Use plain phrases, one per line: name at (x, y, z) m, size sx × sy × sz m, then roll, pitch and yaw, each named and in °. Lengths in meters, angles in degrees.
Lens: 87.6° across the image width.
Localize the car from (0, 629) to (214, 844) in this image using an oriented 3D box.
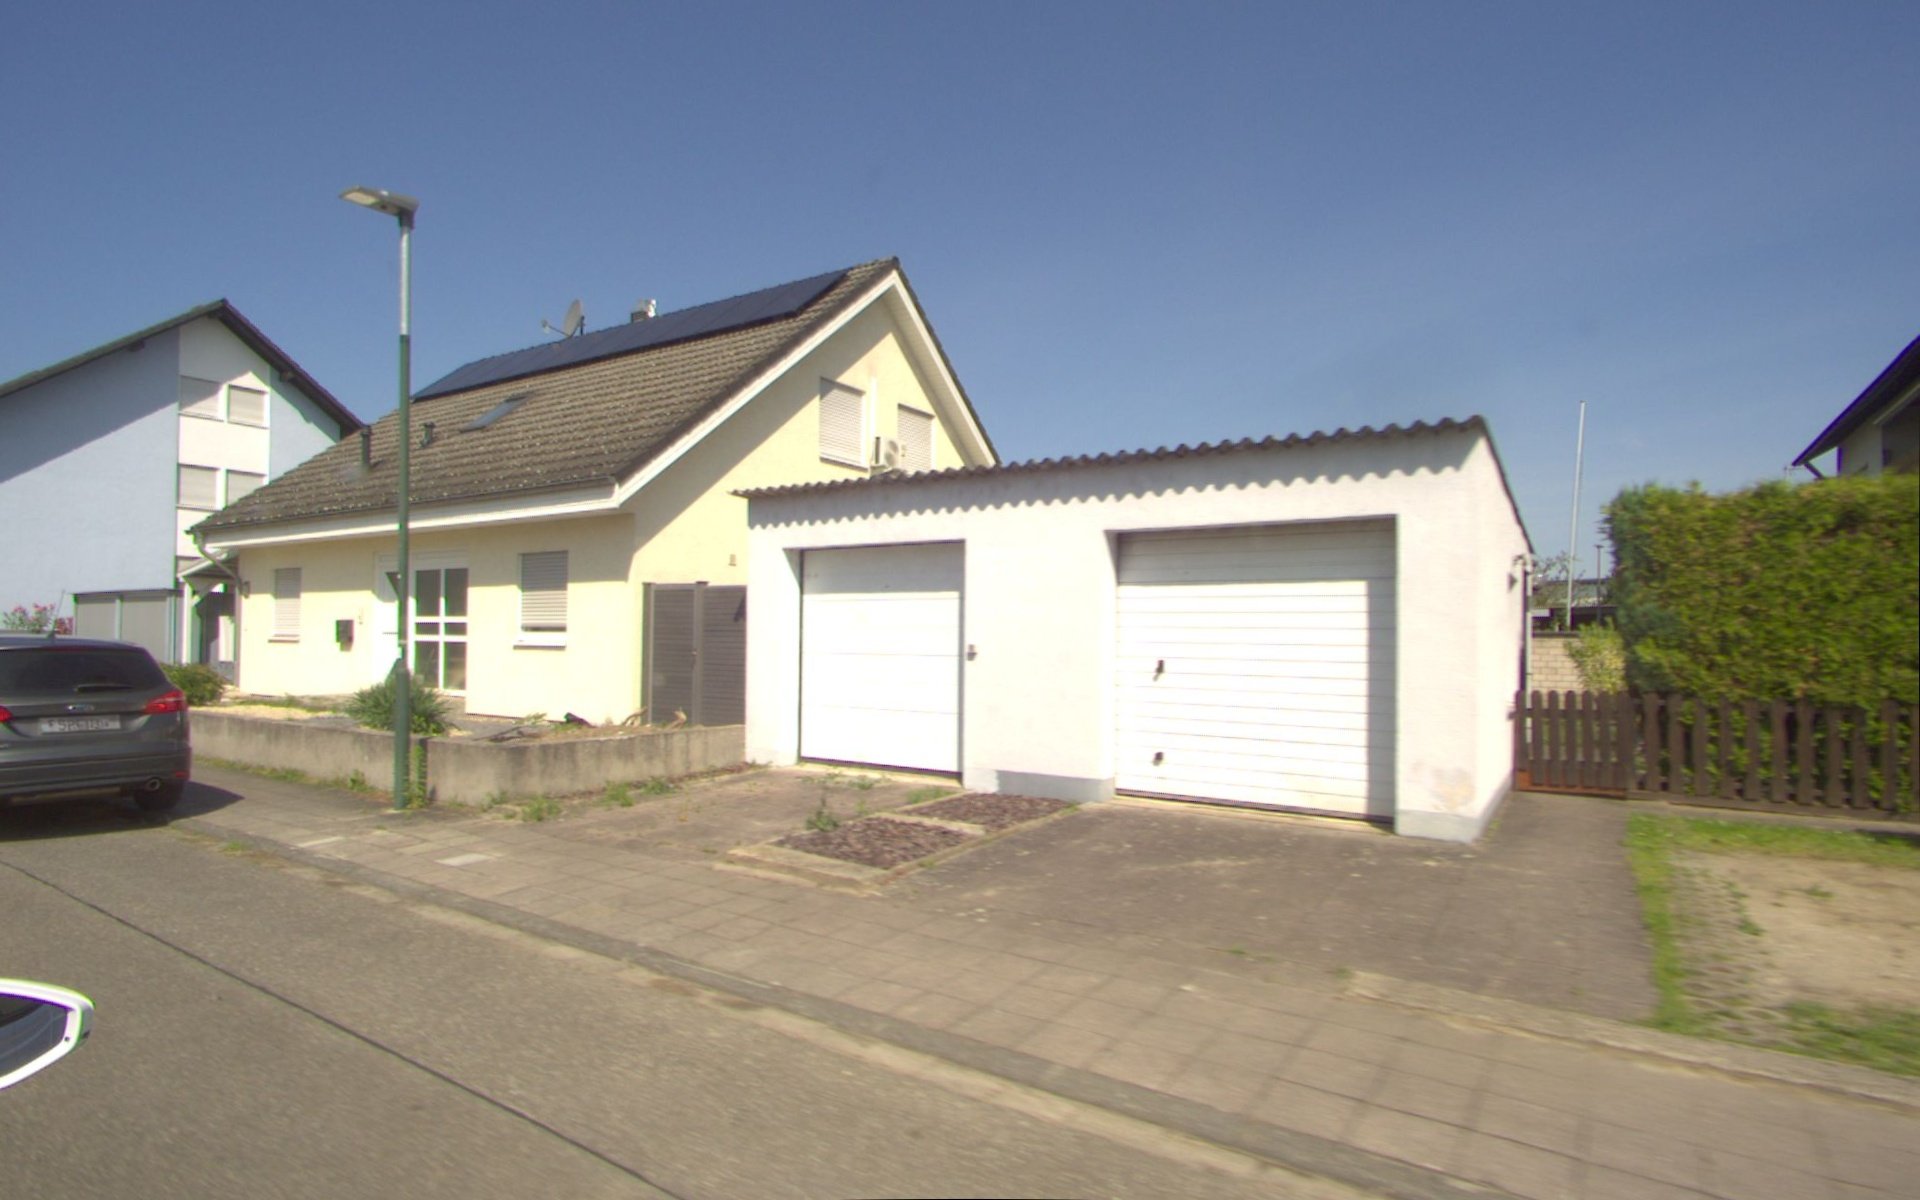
car at (-8.219, 1.008, 8.552) m, size 3.943 × 1.497 × 1.640 m, roll 0°, pitch -3°, yaw 33°

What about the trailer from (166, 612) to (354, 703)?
trailer at (-14.237, 1.139, 20.470) m, size 1.383 × 1.711 × 2.828 m, roll 0°, pitch -2°, yaw 34°
